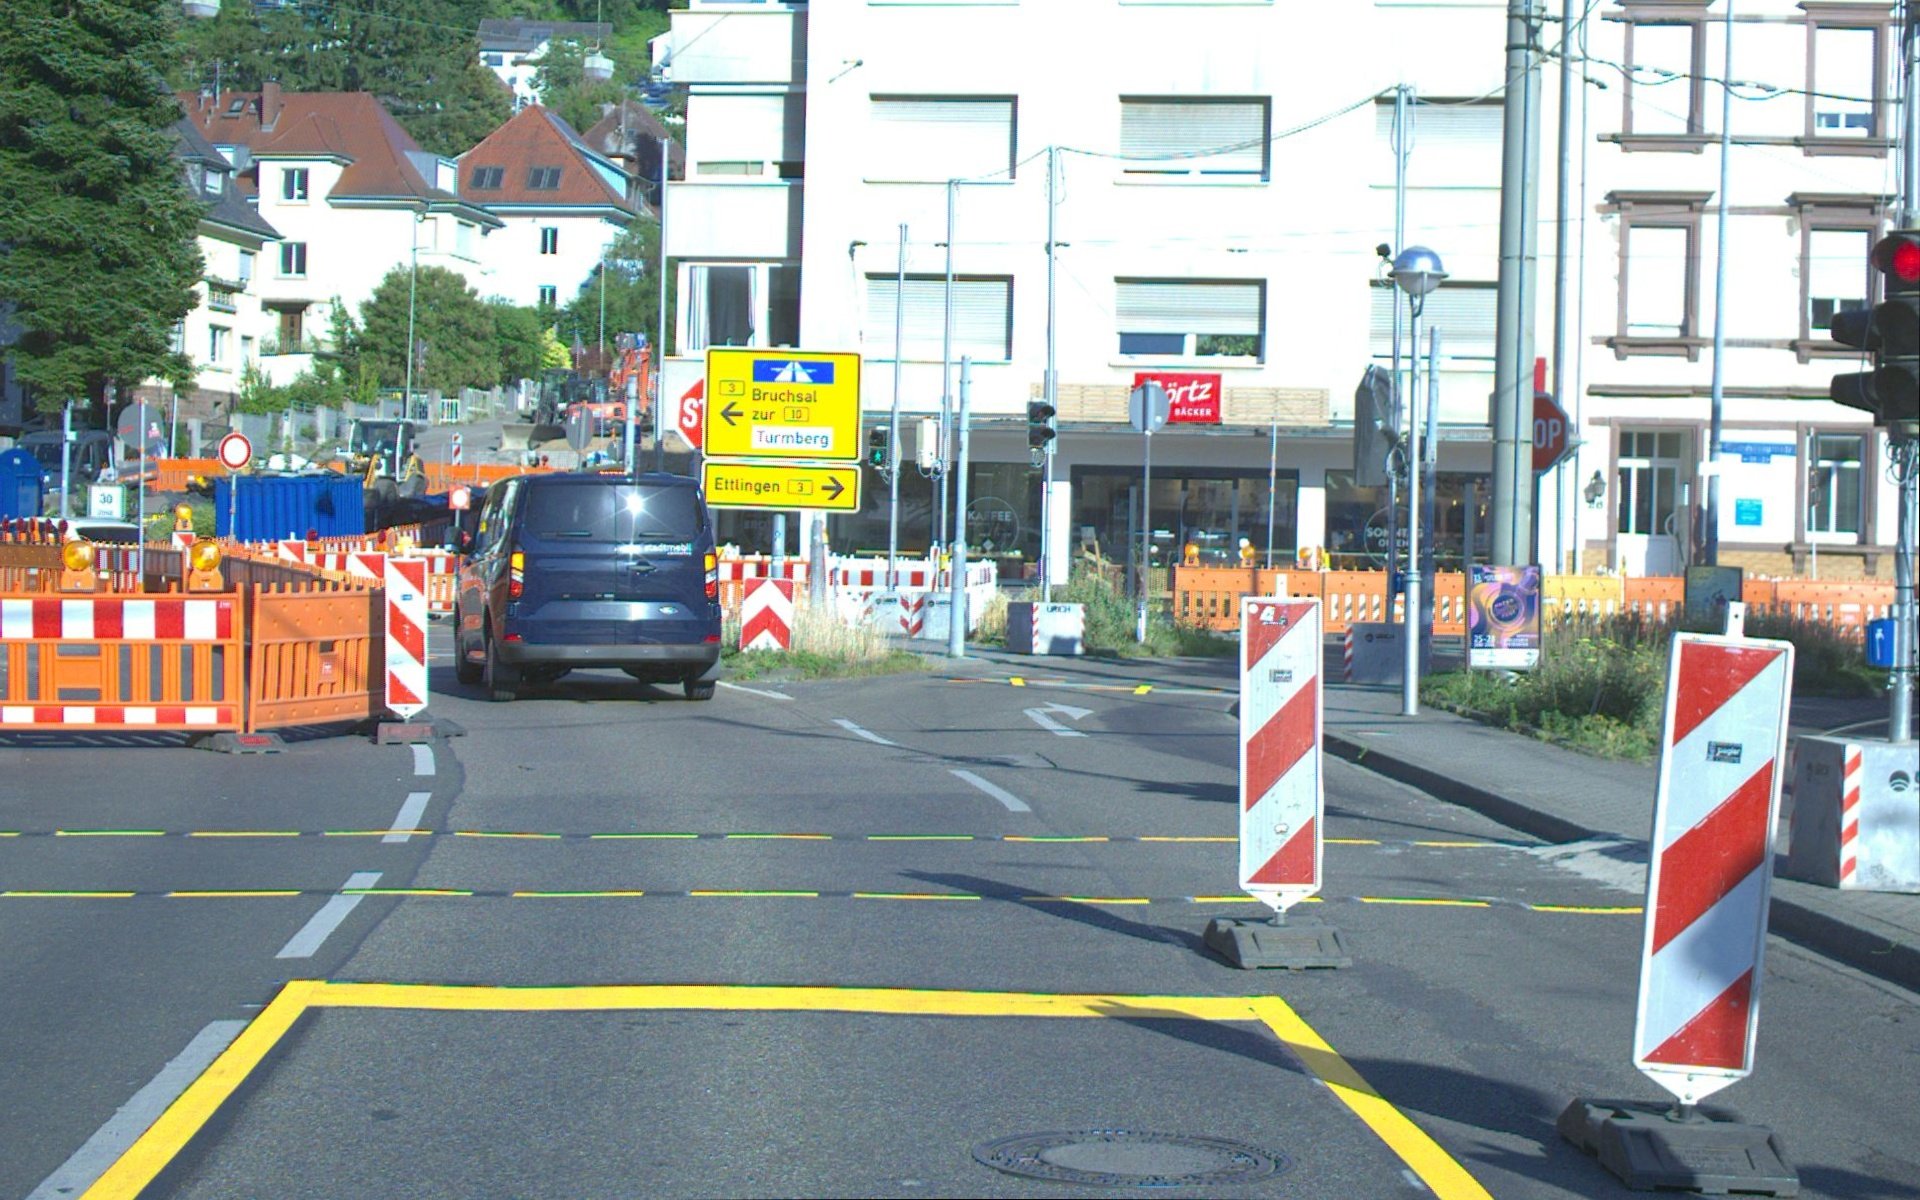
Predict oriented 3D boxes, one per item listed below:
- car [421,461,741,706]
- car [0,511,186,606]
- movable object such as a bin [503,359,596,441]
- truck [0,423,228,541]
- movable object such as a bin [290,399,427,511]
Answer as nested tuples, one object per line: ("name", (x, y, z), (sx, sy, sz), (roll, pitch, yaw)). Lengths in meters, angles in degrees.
("car", (-3.544, -0.203, 31.225), (2.061, 2.007, 5.002), (1, 1, -16))
("car", (-13.984, -0.660, 53.372), (3.997, 1.405, 1.796), (2, 1, 41))
("movable object such as a bin", (-14.455, -7.030, 121.271), (2.191, 2.681, 3.999), (2, 1, 9))
("truck", (-19.064, -2.545, 76.074), (2.357, 2.407, 9.148), (2, 1, 9))
("movable object such as a bin", (-15.144, -3.630, 86.726), (2.191, 2.681, 3.999), (2, 1, 9))
